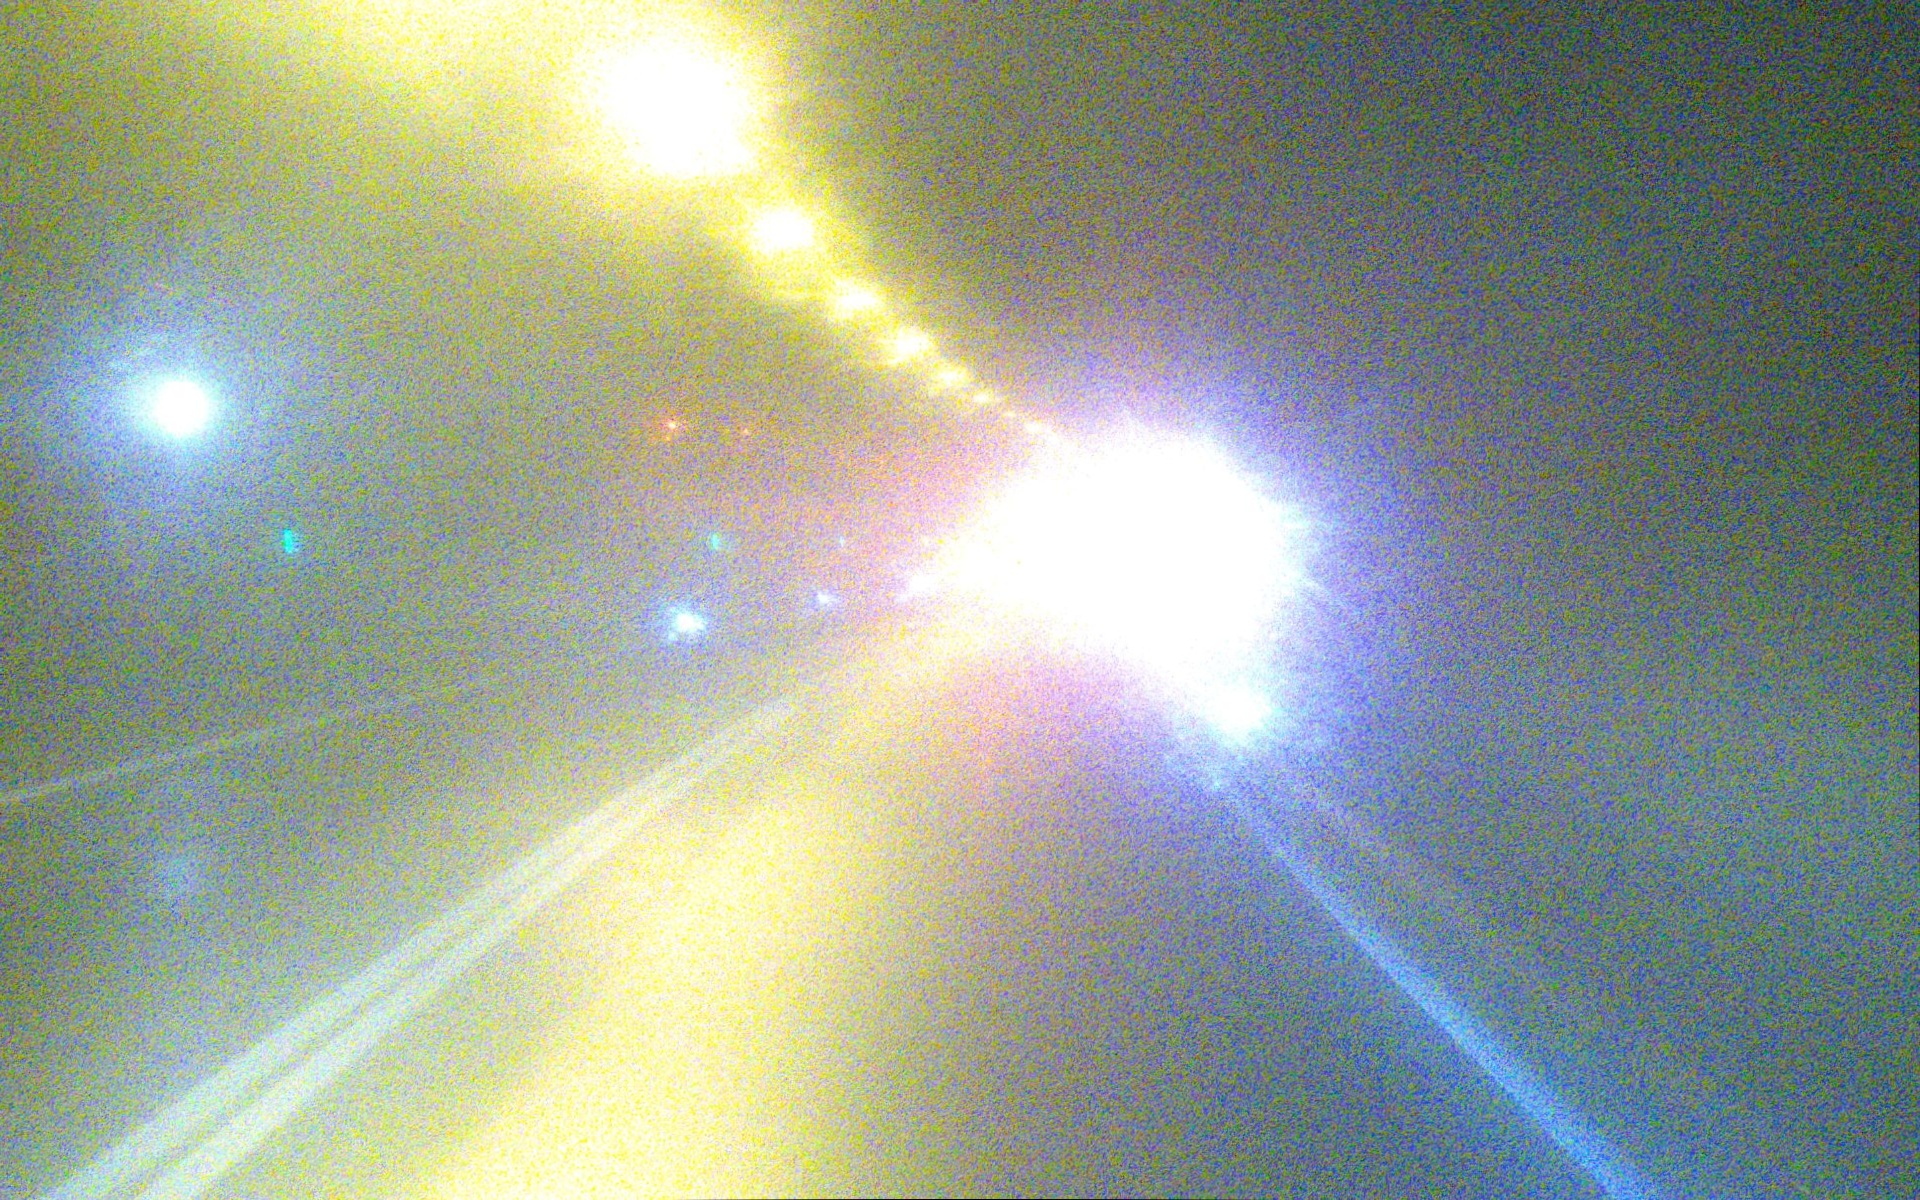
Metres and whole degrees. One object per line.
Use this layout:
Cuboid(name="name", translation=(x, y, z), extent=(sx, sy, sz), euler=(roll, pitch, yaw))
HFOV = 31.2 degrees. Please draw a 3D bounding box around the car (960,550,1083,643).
Cuboid(name="car", translation=(1.193, -0.076, 64.708), extent=(2.090, 1.656, 3.999), euler=(1, 0, 4))
